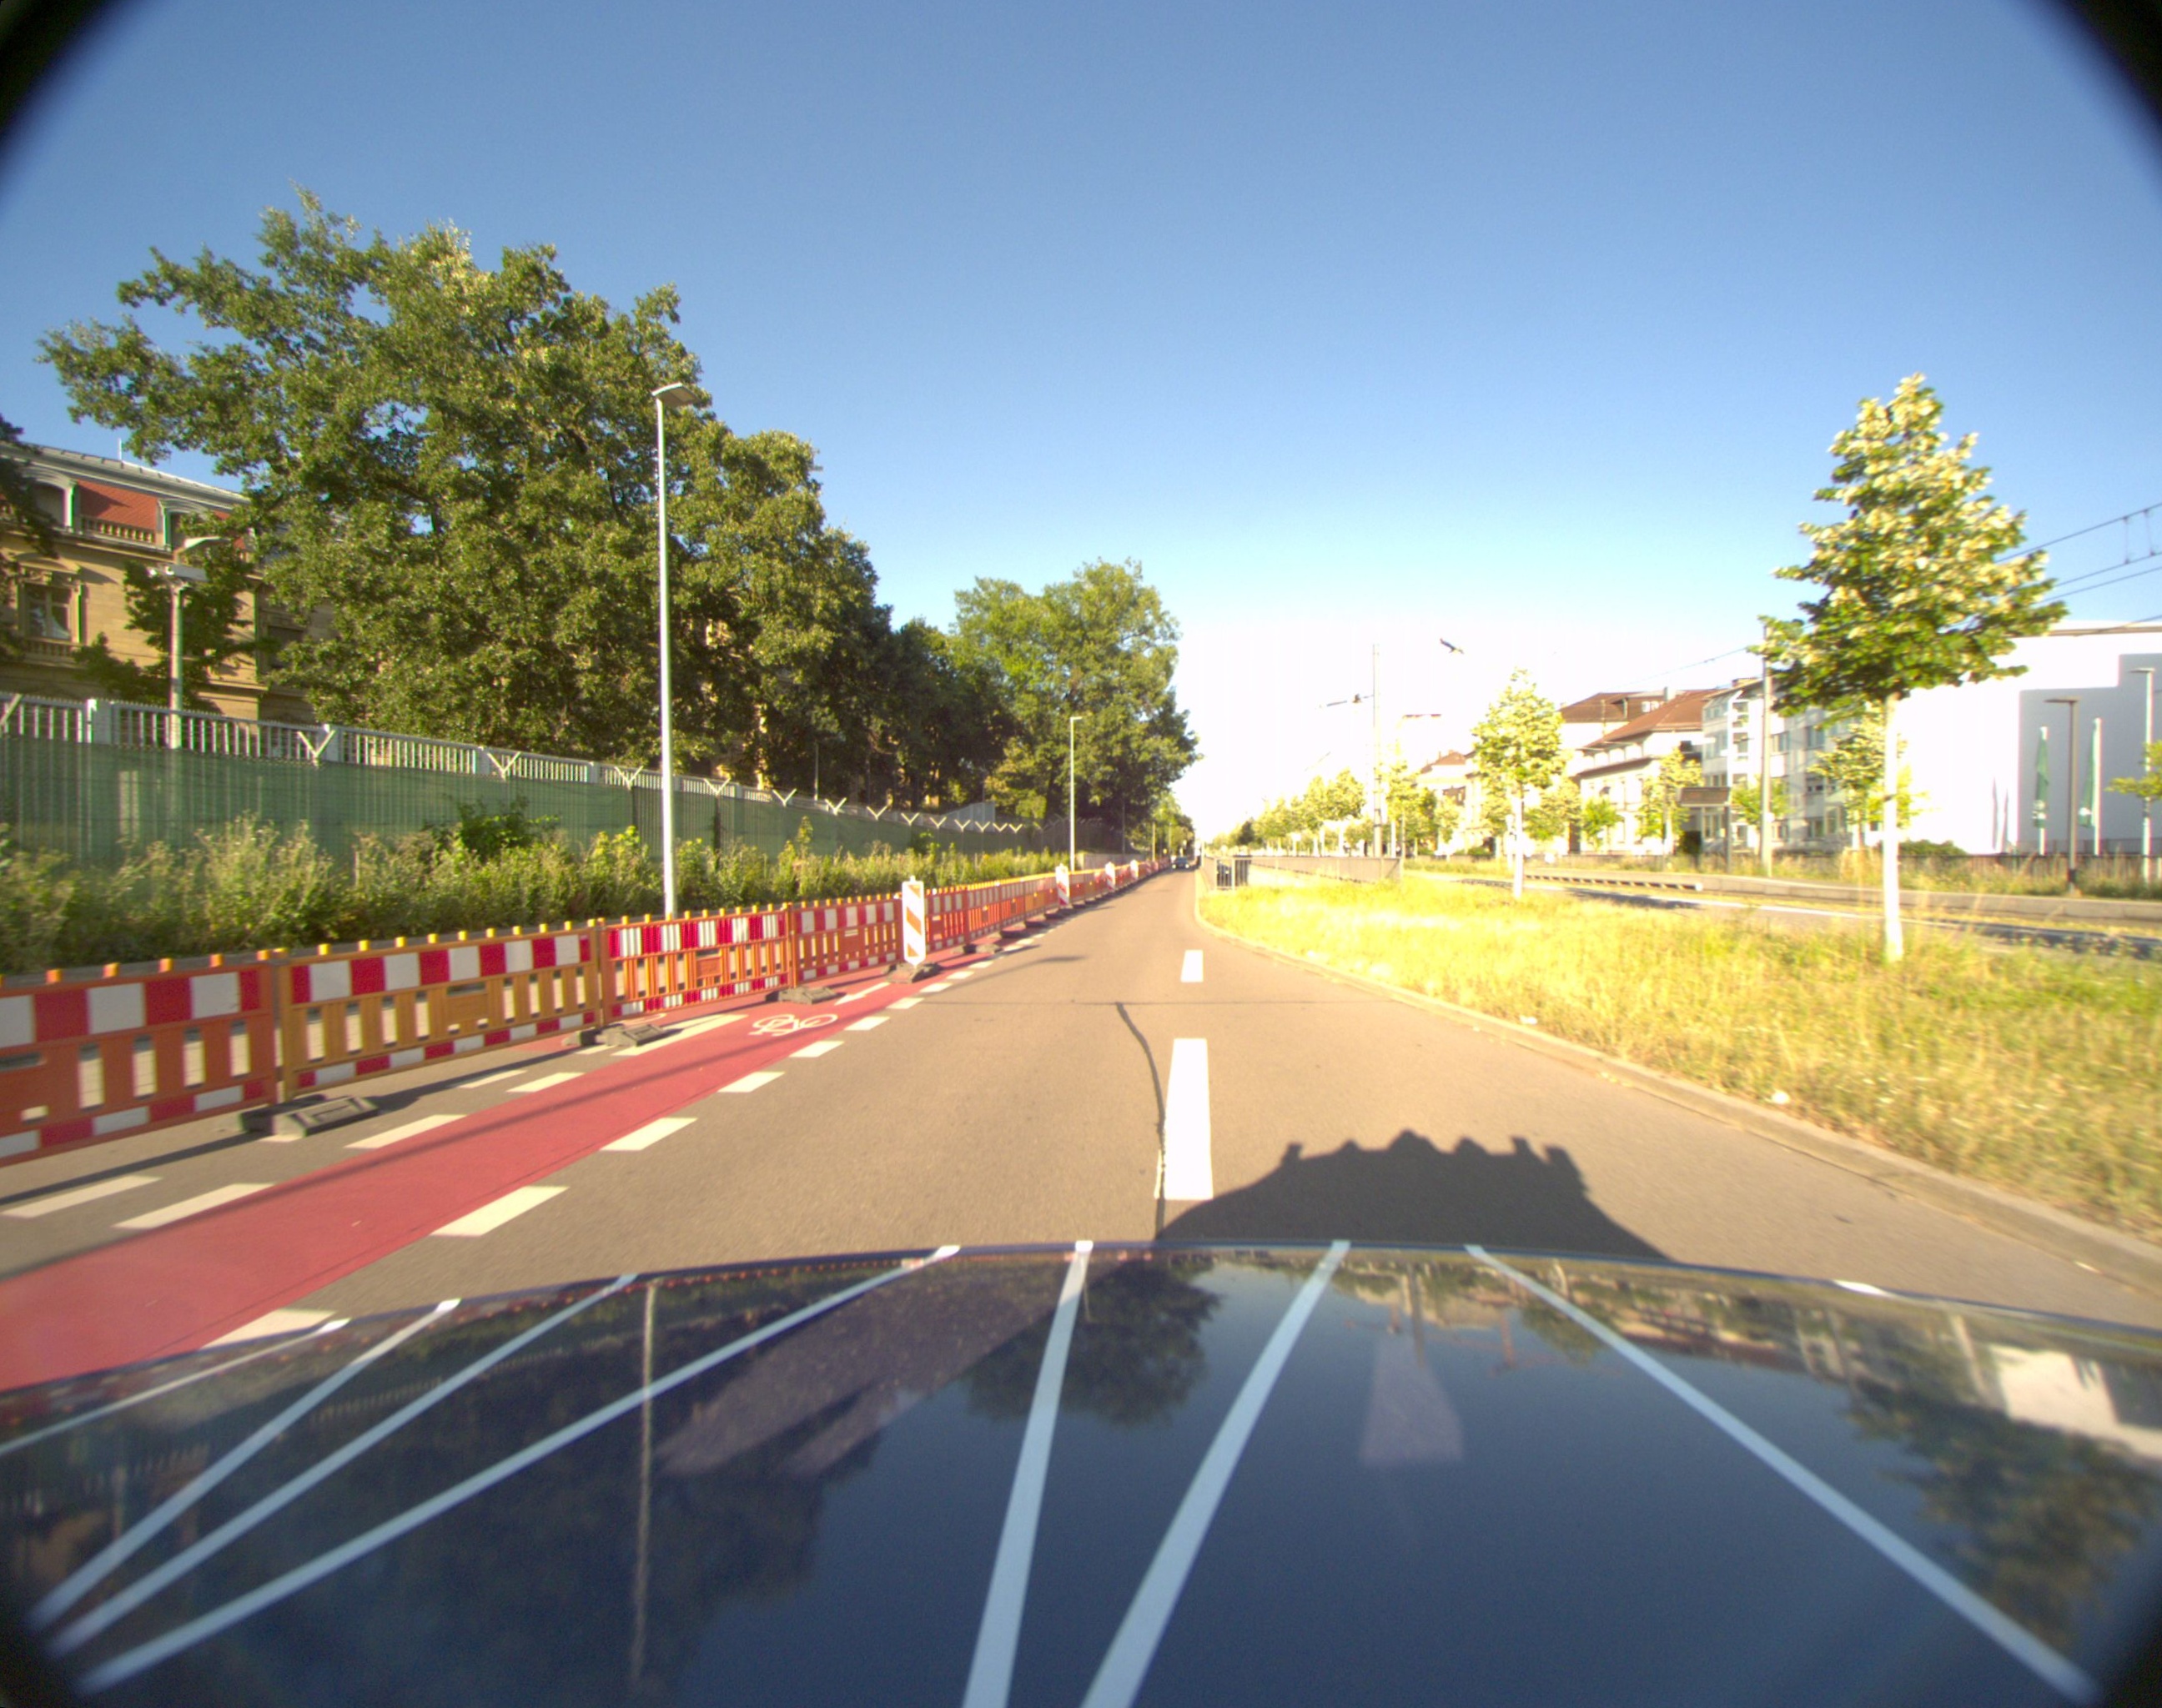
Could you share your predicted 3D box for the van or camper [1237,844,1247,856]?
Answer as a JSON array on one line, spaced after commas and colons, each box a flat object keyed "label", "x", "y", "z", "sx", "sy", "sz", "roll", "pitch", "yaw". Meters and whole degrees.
[{"label": "van or camper", "x": 42.150, "y": -1.121, "z": 198.764, "sx": 2.509, "sy": 3.149, "sz": 7.482, "roll": 0, "pitch": 0, "yaw": 12}]

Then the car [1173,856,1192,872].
[{"label": "car", "x": 12.218, "y": 1.148, "z": 91.162, "sx": 2.079, "sy": 1.827, "sz": 4.002, "roll": 0, "pitch": 0, "yaw": 9}]
